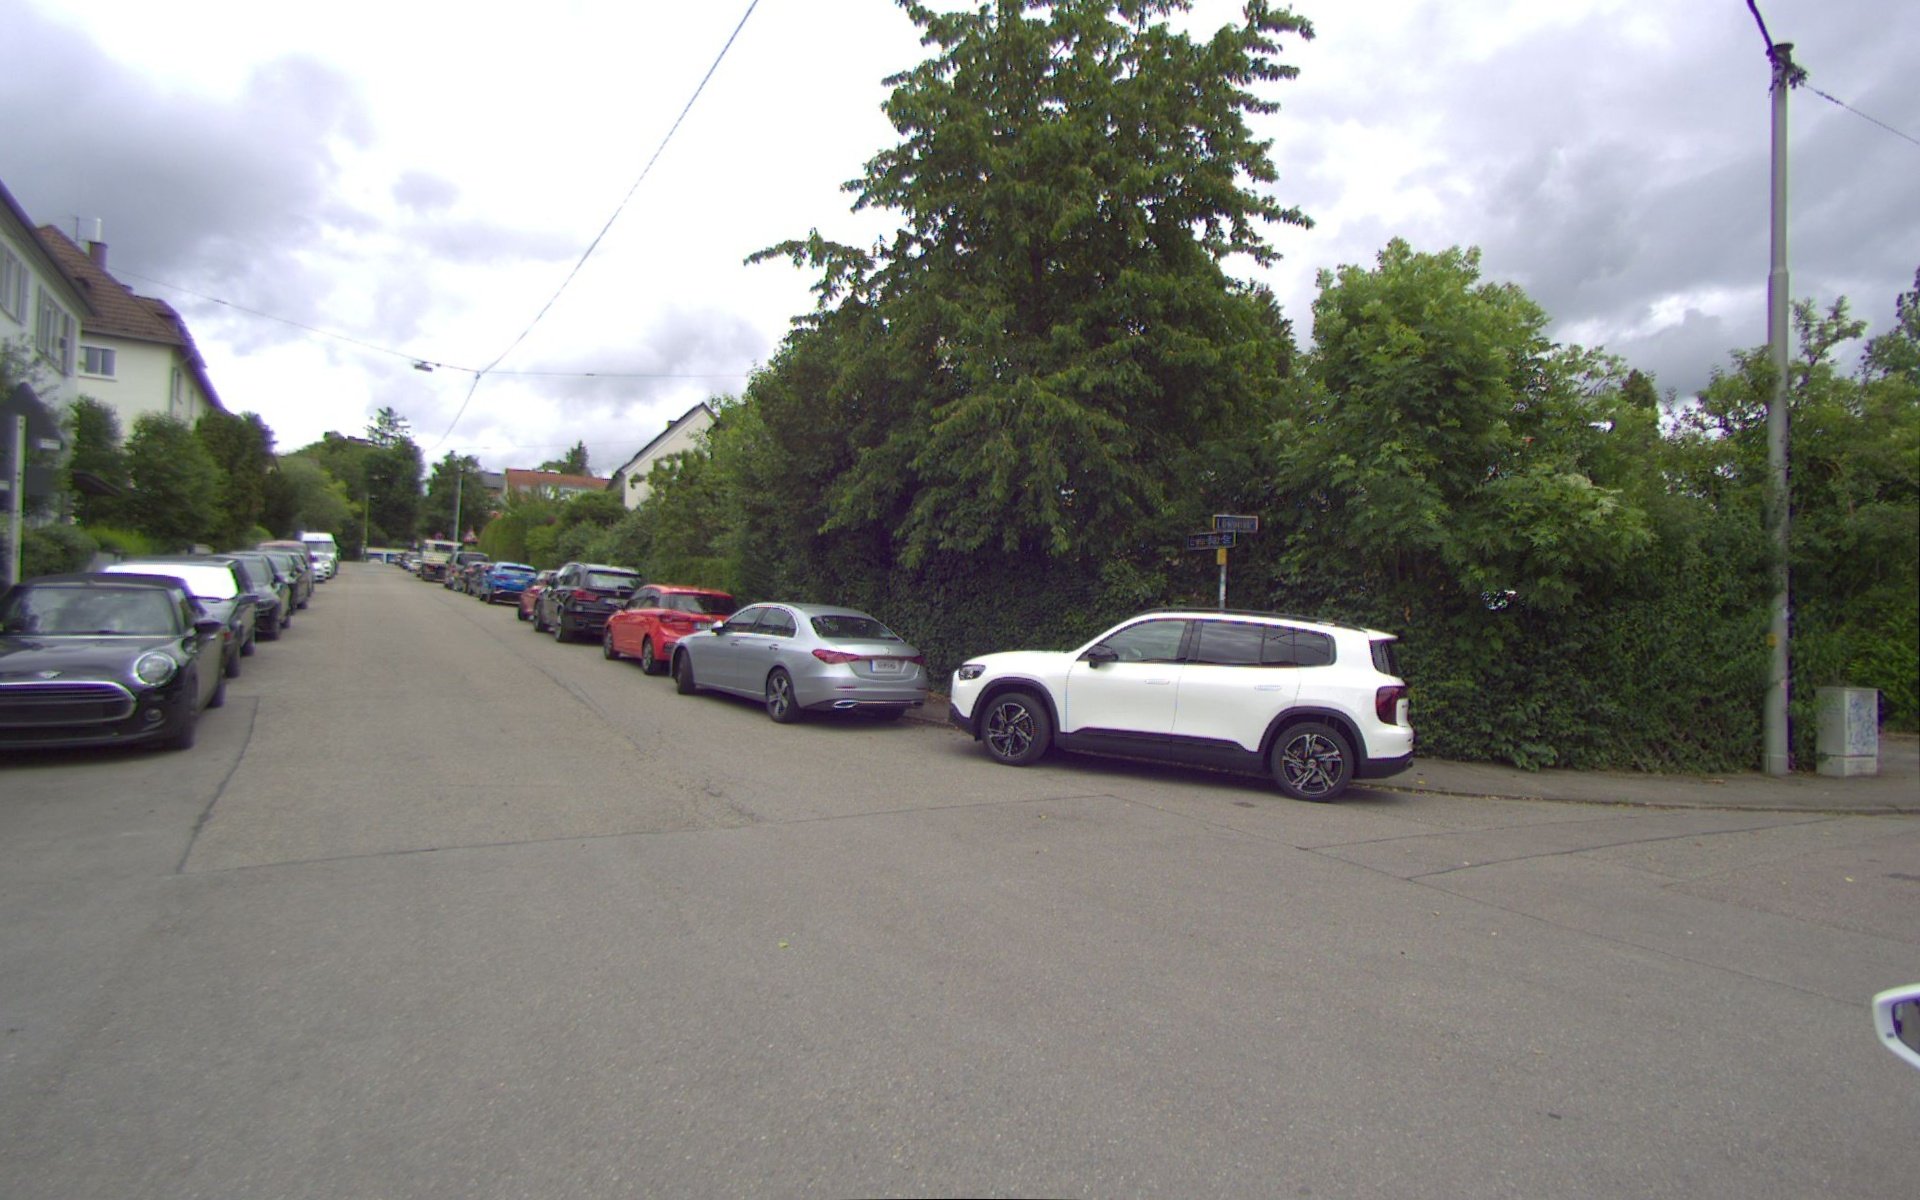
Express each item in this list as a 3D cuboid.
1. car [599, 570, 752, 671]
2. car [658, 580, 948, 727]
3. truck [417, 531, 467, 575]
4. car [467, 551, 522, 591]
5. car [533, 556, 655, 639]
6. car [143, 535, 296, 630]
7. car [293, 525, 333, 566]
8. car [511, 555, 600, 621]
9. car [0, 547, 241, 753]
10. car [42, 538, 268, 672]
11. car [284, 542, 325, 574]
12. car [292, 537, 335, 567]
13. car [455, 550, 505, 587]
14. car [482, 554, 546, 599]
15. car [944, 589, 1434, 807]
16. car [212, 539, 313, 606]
[{"bbox_3d":[-5.191,0.309,17.999,1.615,1.456,3.755,3,2,-32],"label":"car"},{"bbox_3d":[-2.298,0.611,13.632,1.820,1.456,4.462,3,2,-39],"label":"car"},{"bbox_3d":[-31.938,-2.923,61.862,2.402,2.389,4.862,4,1,-30],"label":"truck"},{"bbox_3d":[-19.971,-1.255,43.038,1.615,1.485,3.990,3,1,-32],"label":"car"},{"bbox_3d":[-8.417,-0.108,22.882,1.744,1.571,4.213,3,2,-32],"label":"car"},{"bbox_3d":[-13.856,-0.403,19.053,1.867,1.502,4.693,3,2,-31],"label":"car"},{"bbox_3d":[-41.936,-3.553,65.083,1.956,2.431,4.648,2,1,-35],"label":"car"},{"bbox_3d":[-11.475,-0.389,28.344,1.615,1.571,3.990,3,2,-32],"label":"car"},{"bbox_3d":[-7.982,0.327,9.352,1.767,1.543,3.687,2,1,-31],"label":"car"},{"bbox_3d":[-10.847,-0.026,13.879,1.868,1.502,4.691,3,2,-32],"label":"car"},{"bbox_3d":[-31.815,-2.077,48.807,1.523,1.407,3.348,3,1,-32],"label":"car"},{"bbox_3d":[-35.393,-2.636,55.051,1.773,1.437,4.197,3,2,-31],"label":"car"},{"bbox_3d":[-22.332,-1.484,46.679,1.615,1.485,3.990,3,1,-32],"label":"car"},{"bbox_3d":[-16.712,-0.910,37.554,1.615,1.485,3.990,3,1,-32],"label":"car"},{"bbox_3d":[2.265,0.857,10.272,4.425,1.677,1.835,3,0,20],"label":"car"},{"bbox_3d":[-17.425,-0.742,25.255,1.773,1.437,4.253,3,2,-31],"label":"car"}]
